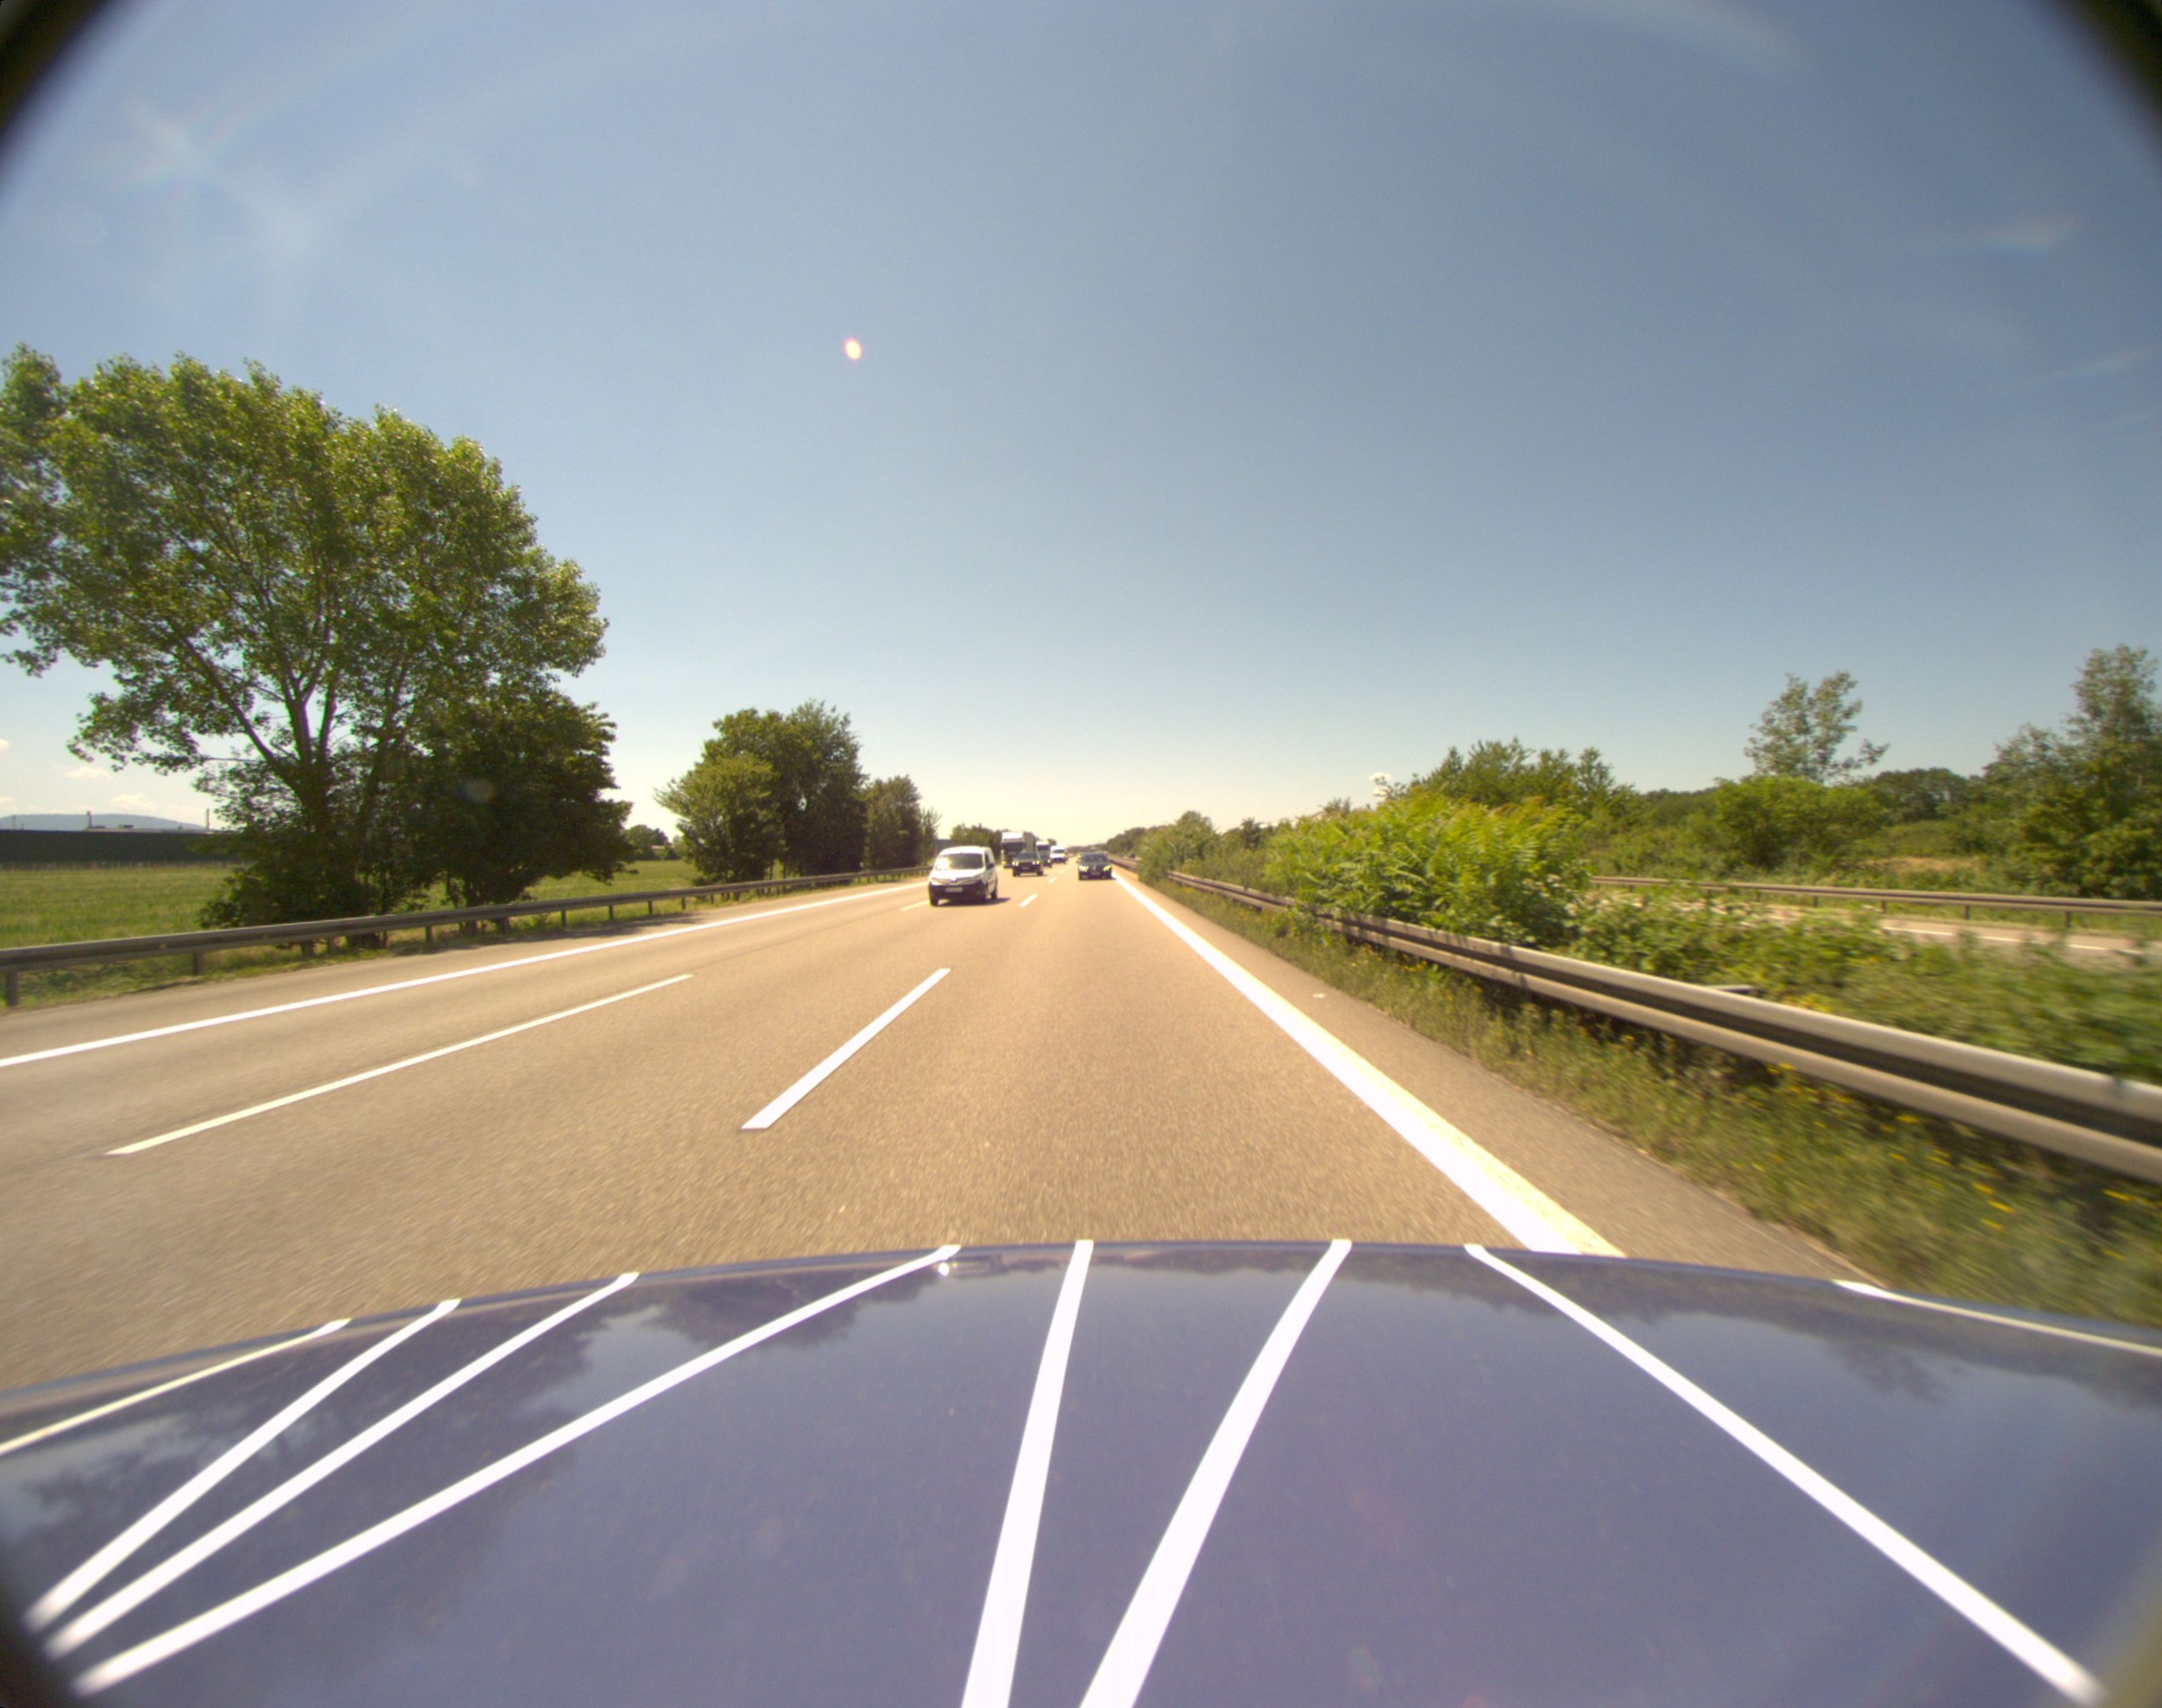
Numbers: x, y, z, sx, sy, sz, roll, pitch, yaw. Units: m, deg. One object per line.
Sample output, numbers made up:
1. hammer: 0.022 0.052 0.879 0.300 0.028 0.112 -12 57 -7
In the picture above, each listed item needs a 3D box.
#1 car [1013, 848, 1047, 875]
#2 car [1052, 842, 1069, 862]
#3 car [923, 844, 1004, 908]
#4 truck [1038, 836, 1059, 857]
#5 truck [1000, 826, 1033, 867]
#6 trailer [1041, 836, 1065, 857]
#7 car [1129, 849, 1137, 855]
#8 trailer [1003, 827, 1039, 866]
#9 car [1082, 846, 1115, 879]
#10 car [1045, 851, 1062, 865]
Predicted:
1. car: -3.455 0.469 52.323 1.871 1.665 4.746 -2 0 2
2. car: -2.755 -0.288 103.098 2.159 2.494 5.945 -2 0 -1
3. car: -3.736 0.650 25.071 1.858 1.852 4.702 -2 0 0
4. truck: -6.248 -1.417 146.755 2.698 3.943 7.706 -2 0 6
5. truck: -7.279 -0.835 86.247 2.817 4.279 7.193 -2 0 1
6. trailer: -5.591 -1.444 152.857 2.698 3.943 13.967 -2 0 6
7. car: 14.122 -0.508 205.193 1.873 1.680 4.626 1 0 0
8. trailer: -7.161 -0.870 92.490 2.817 4.279 14.253 -2 0 1
9. car: 0.957 0.434 41.982 1.690 1.646 3.462 -2 0 1
10. car: -2.861 0.408 79.224 1.692 1.465 3.432 -2 0 -1
